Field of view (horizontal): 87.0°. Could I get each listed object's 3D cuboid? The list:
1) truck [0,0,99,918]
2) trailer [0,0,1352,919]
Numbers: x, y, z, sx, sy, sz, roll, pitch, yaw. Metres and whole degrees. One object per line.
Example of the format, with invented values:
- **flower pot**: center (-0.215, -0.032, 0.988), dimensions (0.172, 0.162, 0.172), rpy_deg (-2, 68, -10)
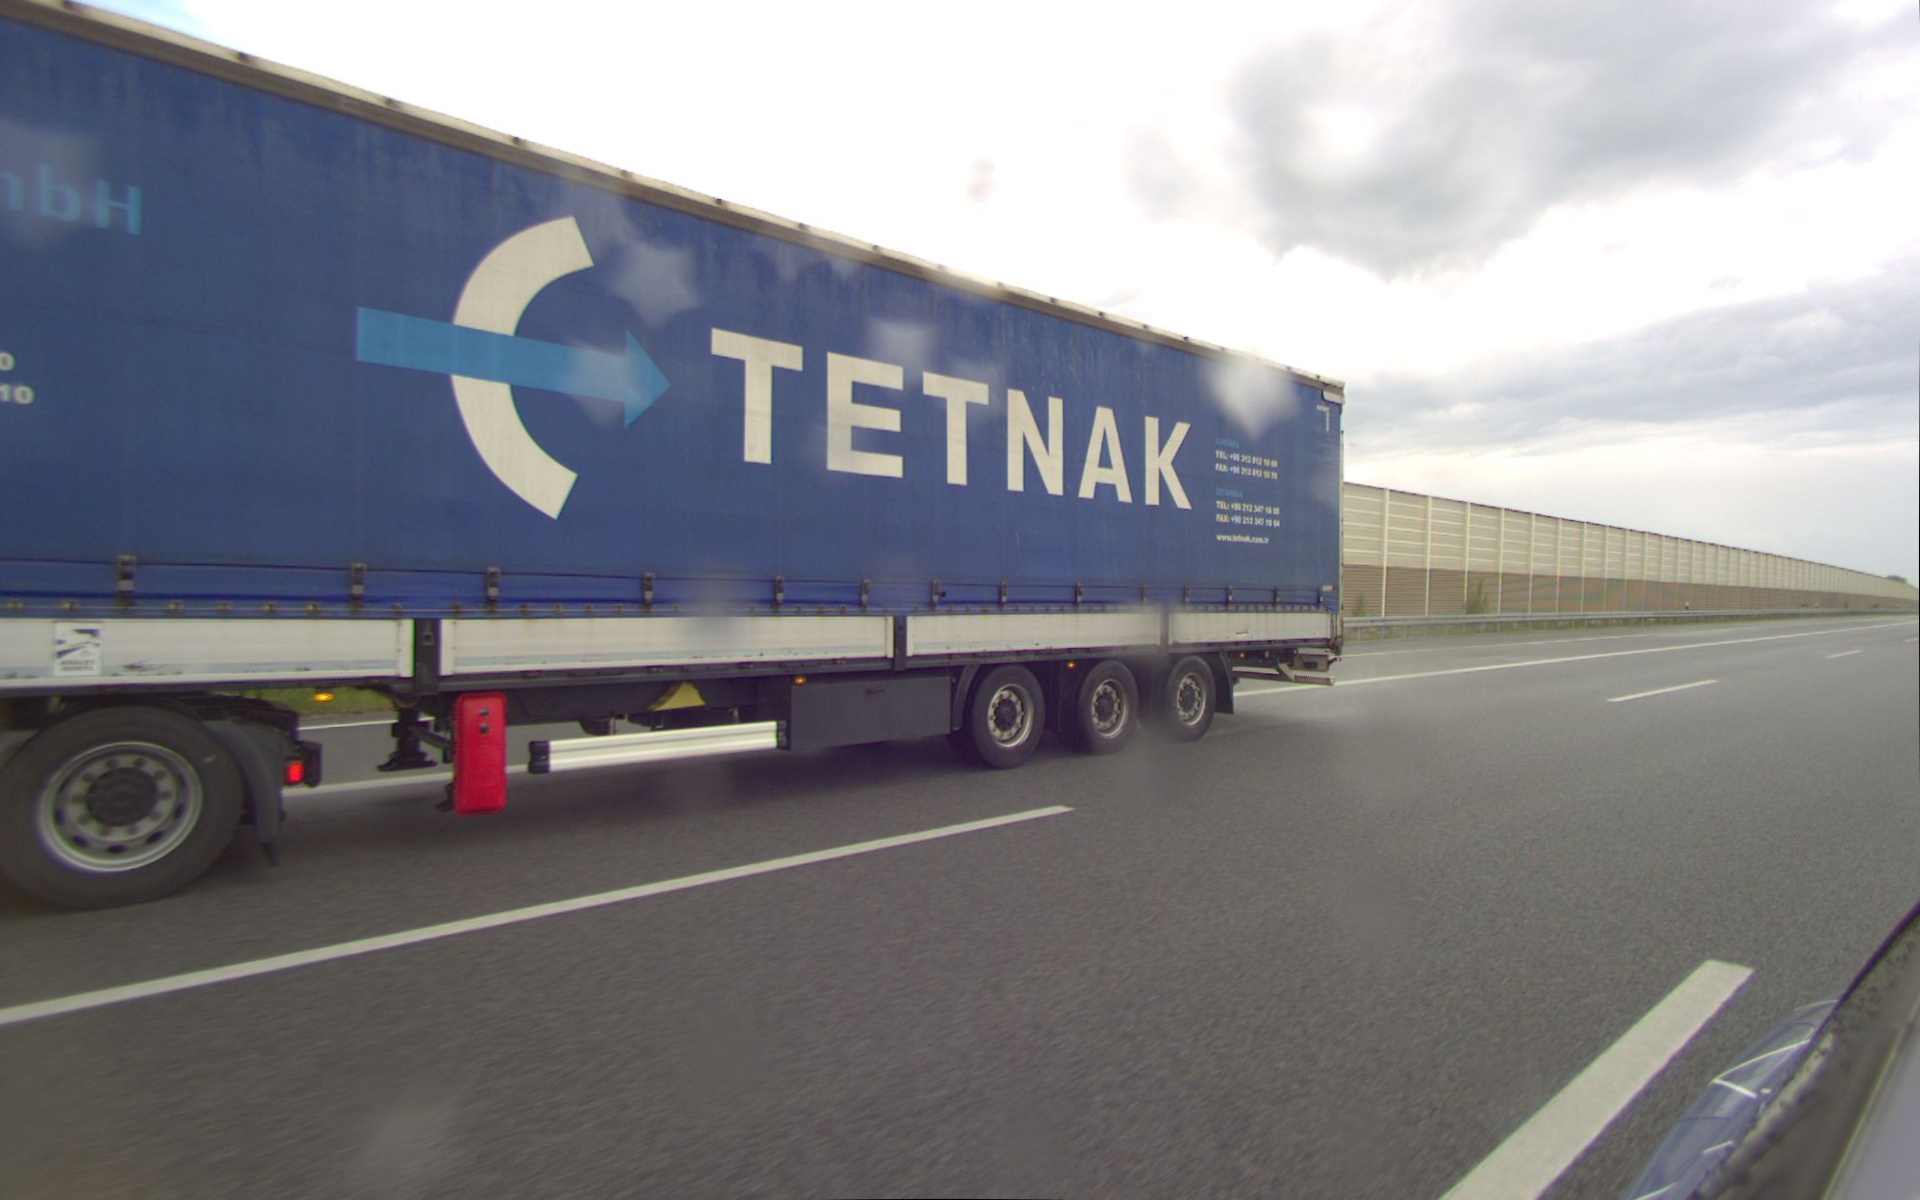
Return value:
- **truck**: center (-6.810, -0.717, 3.627), dimensions (5.627, 4.085, 2.749), rpy_deg (0, 1, -42)
- **trailer**: center (-1.560, -0.729, 8.316), dimensions (14.203, 4.082, 2.765), rpy_deg (0, 1, -42)
